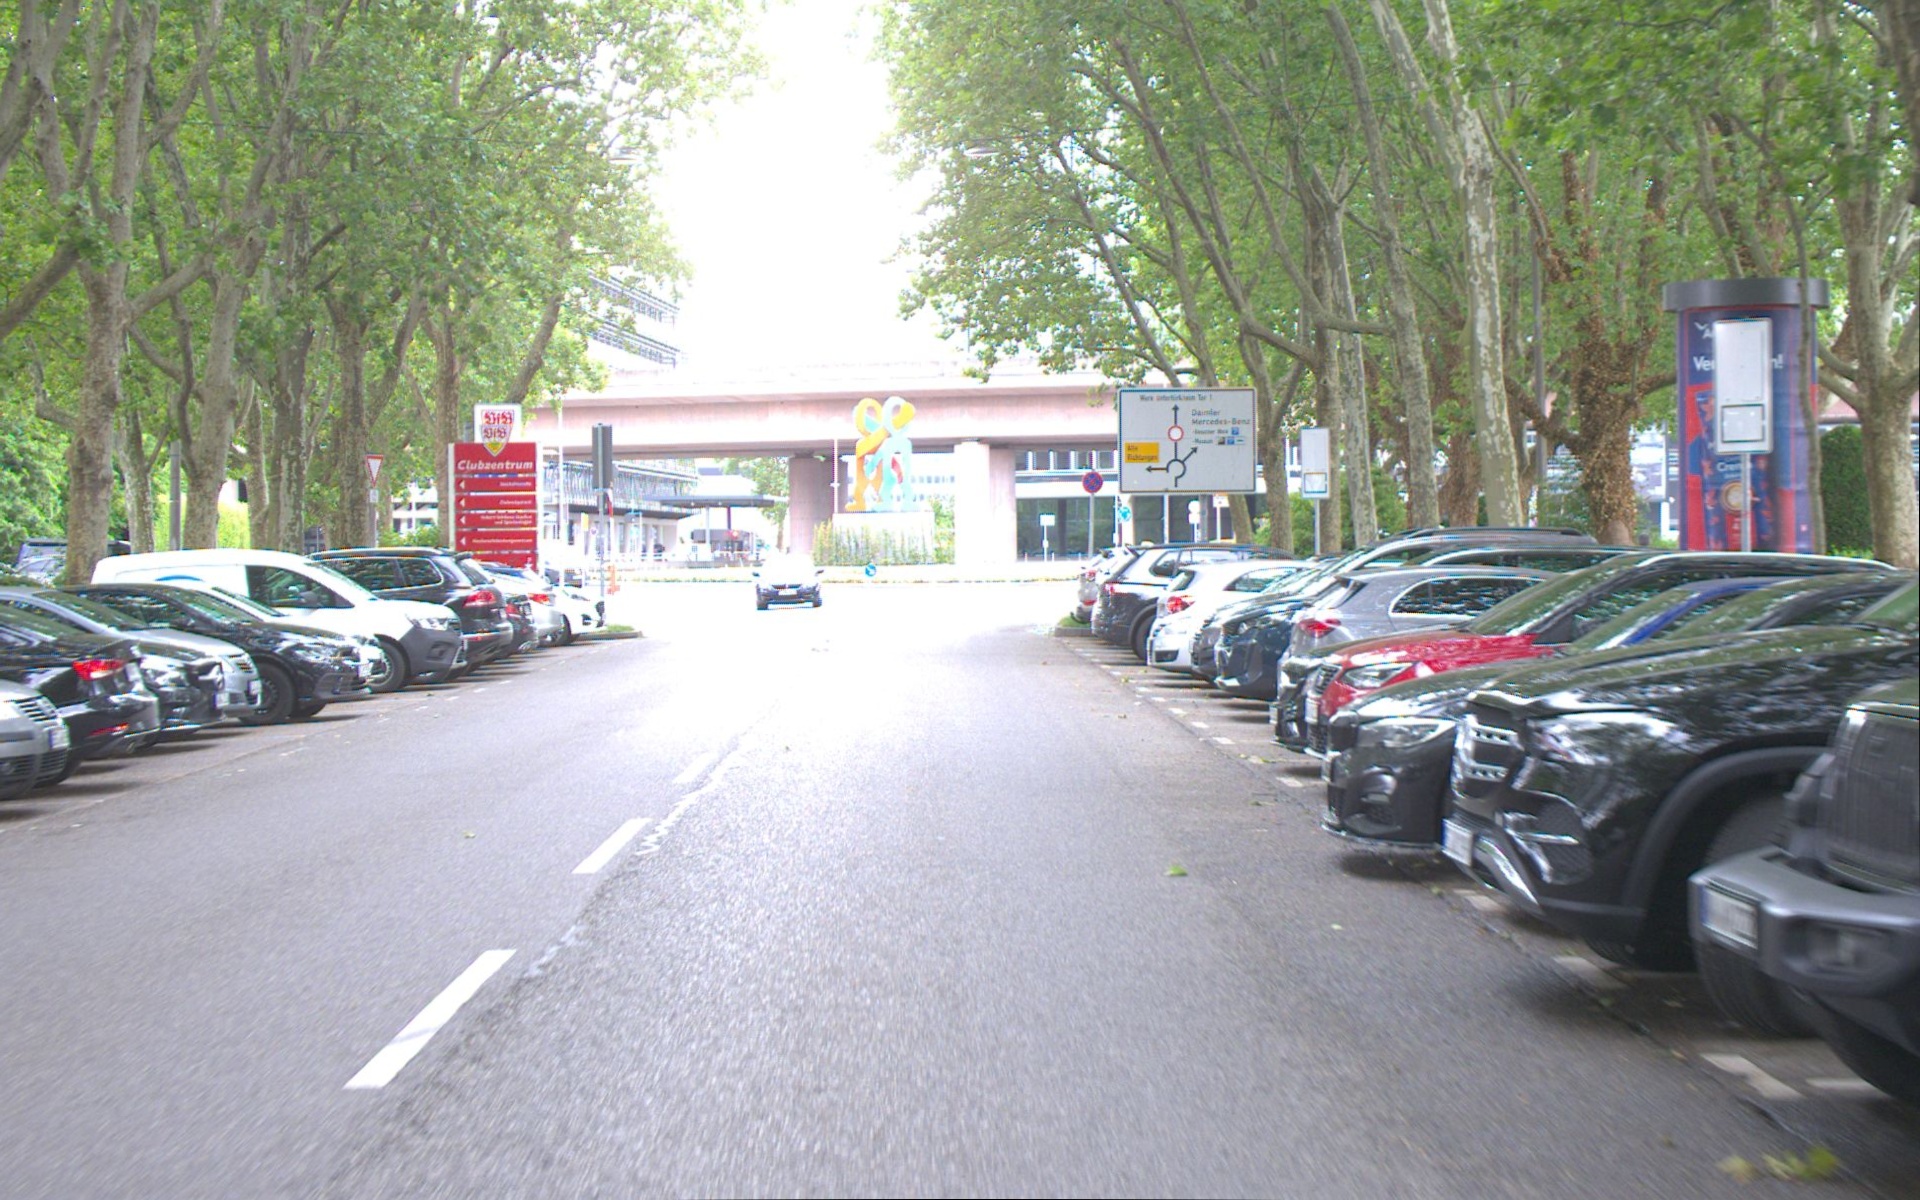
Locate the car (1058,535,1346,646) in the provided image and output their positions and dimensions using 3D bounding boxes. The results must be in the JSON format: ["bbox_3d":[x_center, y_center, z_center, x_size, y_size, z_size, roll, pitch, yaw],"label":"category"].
[{"bbox_3d":[3.751,-0.163,53.815,4.346,1.628,1.926,1,1,0],"label":"car"}]

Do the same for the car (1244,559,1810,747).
[{"bbox_3d":[4.610,0.413,28.452,4.346,1.408,1.926,1,1,0],"label":"car"}]

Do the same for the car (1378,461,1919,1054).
[{"bbox_3d":[3.799,0.483,11.524,4.495,1.790,2.048,1,1,-1],"label":"car"}]

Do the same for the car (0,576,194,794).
[{"bbox_3d":[-7.443,0.614,23.671,3.930,1.393,1.703,-2,1,-2],"label":"car"}]

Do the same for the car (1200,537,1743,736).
[{"bbox_3d":[4.500,0.298,30.811,4.591,1.633,1.872,1,1,2],"label":"car"}]

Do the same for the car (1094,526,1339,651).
[{"bbox_3d":[4.320,-0.213,58.425,3.987,2.007,2.000,1,1,0],"label":"car"}]

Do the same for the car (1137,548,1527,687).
[{"bbox_3d":[4.112,0.176,38.432,4.148,1.453,1.727,1,1,0],"label":"car"}]

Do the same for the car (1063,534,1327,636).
[{"bbox_3d":[3.957,-0.270,58.476,4.346,1.628,1.926,1,1,0],"label":"car"}]

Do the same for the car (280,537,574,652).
[{"bbox_3d":[-8.268,-0.098,53.626,4.263,1.543,1.908,-3,0,-2],"label":"car"}]

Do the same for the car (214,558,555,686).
[{"bbox_3d":[-7.676,0.281,46.105,4.129,1.447,2.013,-3,1,2],"label":"car"}]

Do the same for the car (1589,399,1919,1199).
[{"bbox_3d":[4.056,0.504,8.560,4.494,1.860,2.048,1,1,-4],"label":"car"}]

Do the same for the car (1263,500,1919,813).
[{"bbox_3d":[4.301,0.319,21.170,4.494,1.790,2.048,1,1,-6],"label":"car"}]

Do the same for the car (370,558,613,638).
[{"bbox_3d":[-8.323,-0.041,61.299,3.994,1.380,1.911,0,0,3],"label":"car"}]

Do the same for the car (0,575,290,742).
[{"bbox_3d":[-8.482,0.544,31.052,4.463,1.365,1.880,-2,1,-1],"label":"car"}]

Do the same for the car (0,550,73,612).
[{"bbox_3d":[-24.395,-0.489,85.782,3.987,1.517,2.002,0,0,0],"label":"car"}]

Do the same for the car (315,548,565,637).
[{"bbox_3d":[-8.855,-0.133,58.766,3.993,1.488,1.832,0,0,0],"label":"car"}]

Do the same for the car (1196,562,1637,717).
[{"bbox_3d":[4.395,0.367,33.533,4.040,1.375,1.744,1,1,0],"label":"car"}]

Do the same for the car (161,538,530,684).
[{"bbox_3d":[-7.750,0.133,43.661,4.317,1.789,2.037,0,0,0],"label":"car"}]

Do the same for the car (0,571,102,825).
[{"bbox_3d":[-7.762,0.650,21.233,4.463,1.477,1.703,-2,1,-2],"label":"car"}]

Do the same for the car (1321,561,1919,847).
[{"bbox_3d":[4.290,0.536,18.572,4.495,1.415,1.829,1,1,1],"label":"car"}]

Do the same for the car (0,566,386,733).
[{"bbox_3d":[-7.762,0.478,33.373,3.979,1.416,1.755,-3,1,3],"label":"car"}]

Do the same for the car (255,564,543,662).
[{"bbox_3d":[-8.280,0.183,51.006,3.986,1.399,1.885,0,0,-1],"label":"car"}]

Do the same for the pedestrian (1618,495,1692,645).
[{"bbox_3d":[9.384,-0.406,46.430,0.784,2.007,0.599,0,0,-17],"label":"pedestrian"}]

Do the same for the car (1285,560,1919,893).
[{"bbox_3d":[3.880,0.567,16.207,4.495,1.423,1.932,1,1,0],"label":"car"}]

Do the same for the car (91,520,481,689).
[{"bbox_3d":[-8.007,0.036,41.143,4.317,1.804,1.868,-2,1,-4],"label":"car"}]

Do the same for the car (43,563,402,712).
[{"bbox_3d":[-8.211,0.394,38.448,3.781,1.467,1.765,-2,1,-11],"label":"car"}]

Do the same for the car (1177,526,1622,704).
[{"bbox_3d":[4.534,0.135,35.906,4.346,1.739,1.837,1,1,-2],"label":"car"}]

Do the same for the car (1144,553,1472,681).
[{"bbox_3d":[4.106,0.186,40.928,3.639,1.422,1.666,1,1,-3],"label":"car"}]

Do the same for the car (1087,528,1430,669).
[{"bbox_3d":[3.948,-0.038,46.003,4.346,1.755,1.926,1,1,-2],"label":"car"}]

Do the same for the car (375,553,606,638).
[{"bbox_3d":[-8.676,-0.094,63.710,3.994,1.535,1.805,0,0,1],"label":"car"}]

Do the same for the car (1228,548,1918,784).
[{"bbox_3d":[4.196,0.435,23.955,4.345,1.497,1.926,1,1,-6],"label":"car"}]

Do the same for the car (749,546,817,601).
[{"bbox_3d":[-4.959,-0.735,96.830,1.842,1.504,4.015,0,0,-2],"label":"car"}]

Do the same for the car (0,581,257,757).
[{"bbox_3d":[-8.358,0.601,28.859,4.463,1.343,1.901,-2,1,1],"label":"car"}]
